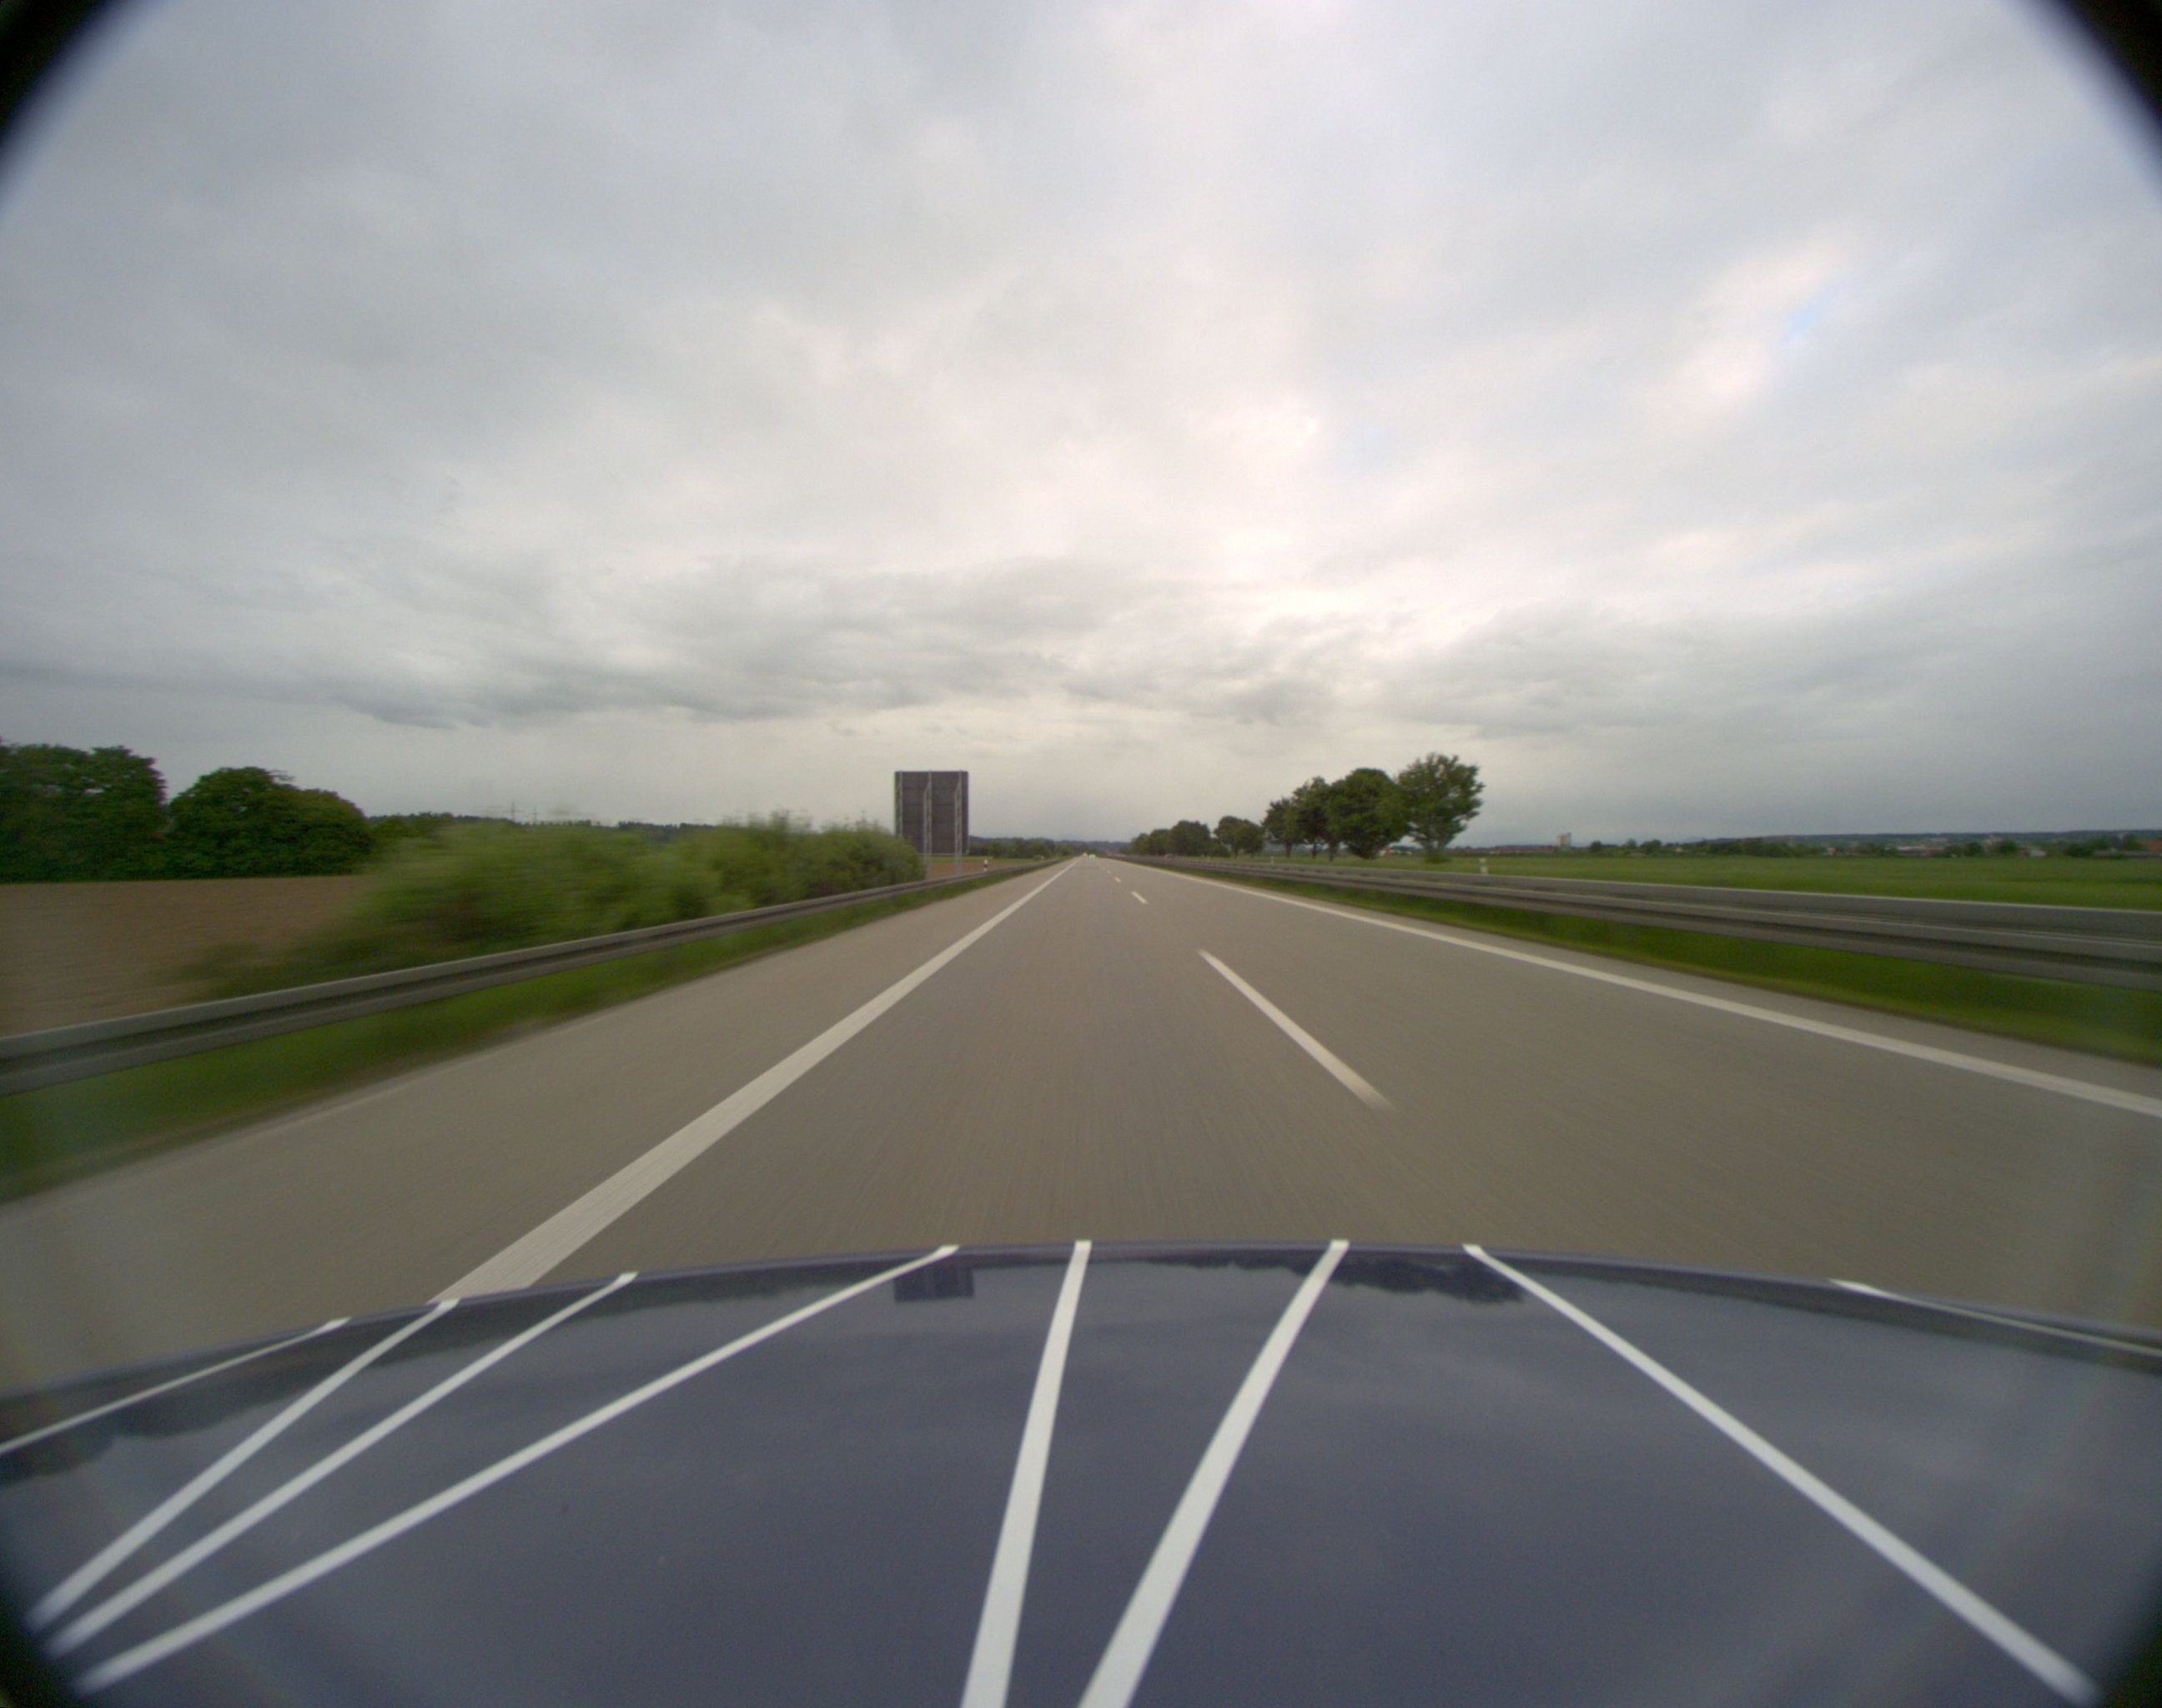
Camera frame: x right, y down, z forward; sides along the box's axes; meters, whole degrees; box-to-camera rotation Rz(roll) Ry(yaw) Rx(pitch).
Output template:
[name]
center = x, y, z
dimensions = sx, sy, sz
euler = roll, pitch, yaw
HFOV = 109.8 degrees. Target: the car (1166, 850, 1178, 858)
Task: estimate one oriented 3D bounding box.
[car]
center = 18.129, -0.048, 151.968
dimensions = 1.998, 1.437, 4.000
euler = -2, 1, 1
